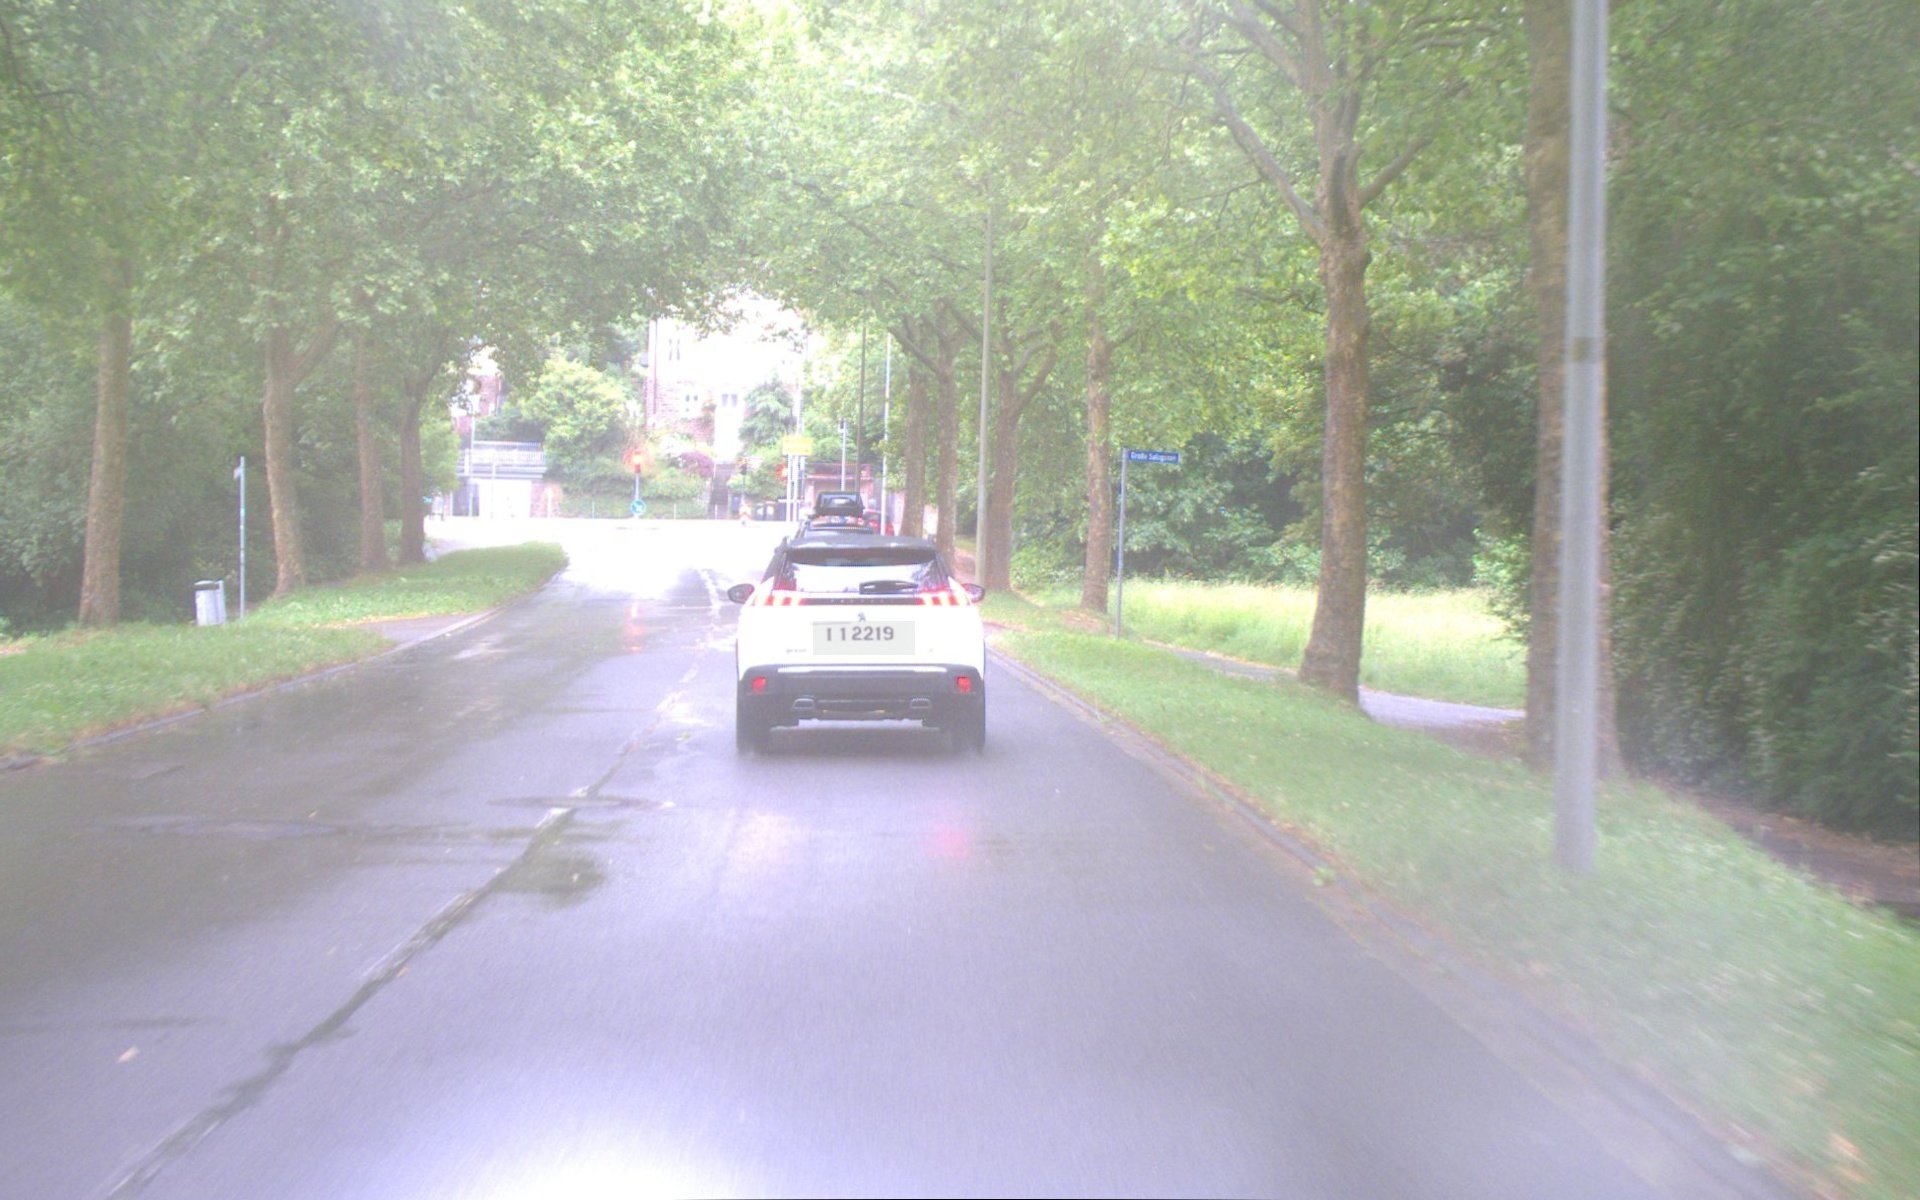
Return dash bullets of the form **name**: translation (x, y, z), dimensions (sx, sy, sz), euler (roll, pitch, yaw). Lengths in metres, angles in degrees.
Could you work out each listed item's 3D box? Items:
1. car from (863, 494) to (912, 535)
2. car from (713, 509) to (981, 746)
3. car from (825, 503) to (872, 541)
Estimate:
- **car**: translation (-2.945, -3.486, 140.230), dimensions (1.827, 1.590, 3.654), euler (2, 1, 1)
- **car**: translation (-0.775, 0.135, 25.403), dimensions (1.794, 1.573, 3.844), euler (1, 1, 0)
- **car**: translation (-4.842, -3.373, 149.915), dimensions (1.827, 1.590, 3.654), euler (2, 1, 1)
